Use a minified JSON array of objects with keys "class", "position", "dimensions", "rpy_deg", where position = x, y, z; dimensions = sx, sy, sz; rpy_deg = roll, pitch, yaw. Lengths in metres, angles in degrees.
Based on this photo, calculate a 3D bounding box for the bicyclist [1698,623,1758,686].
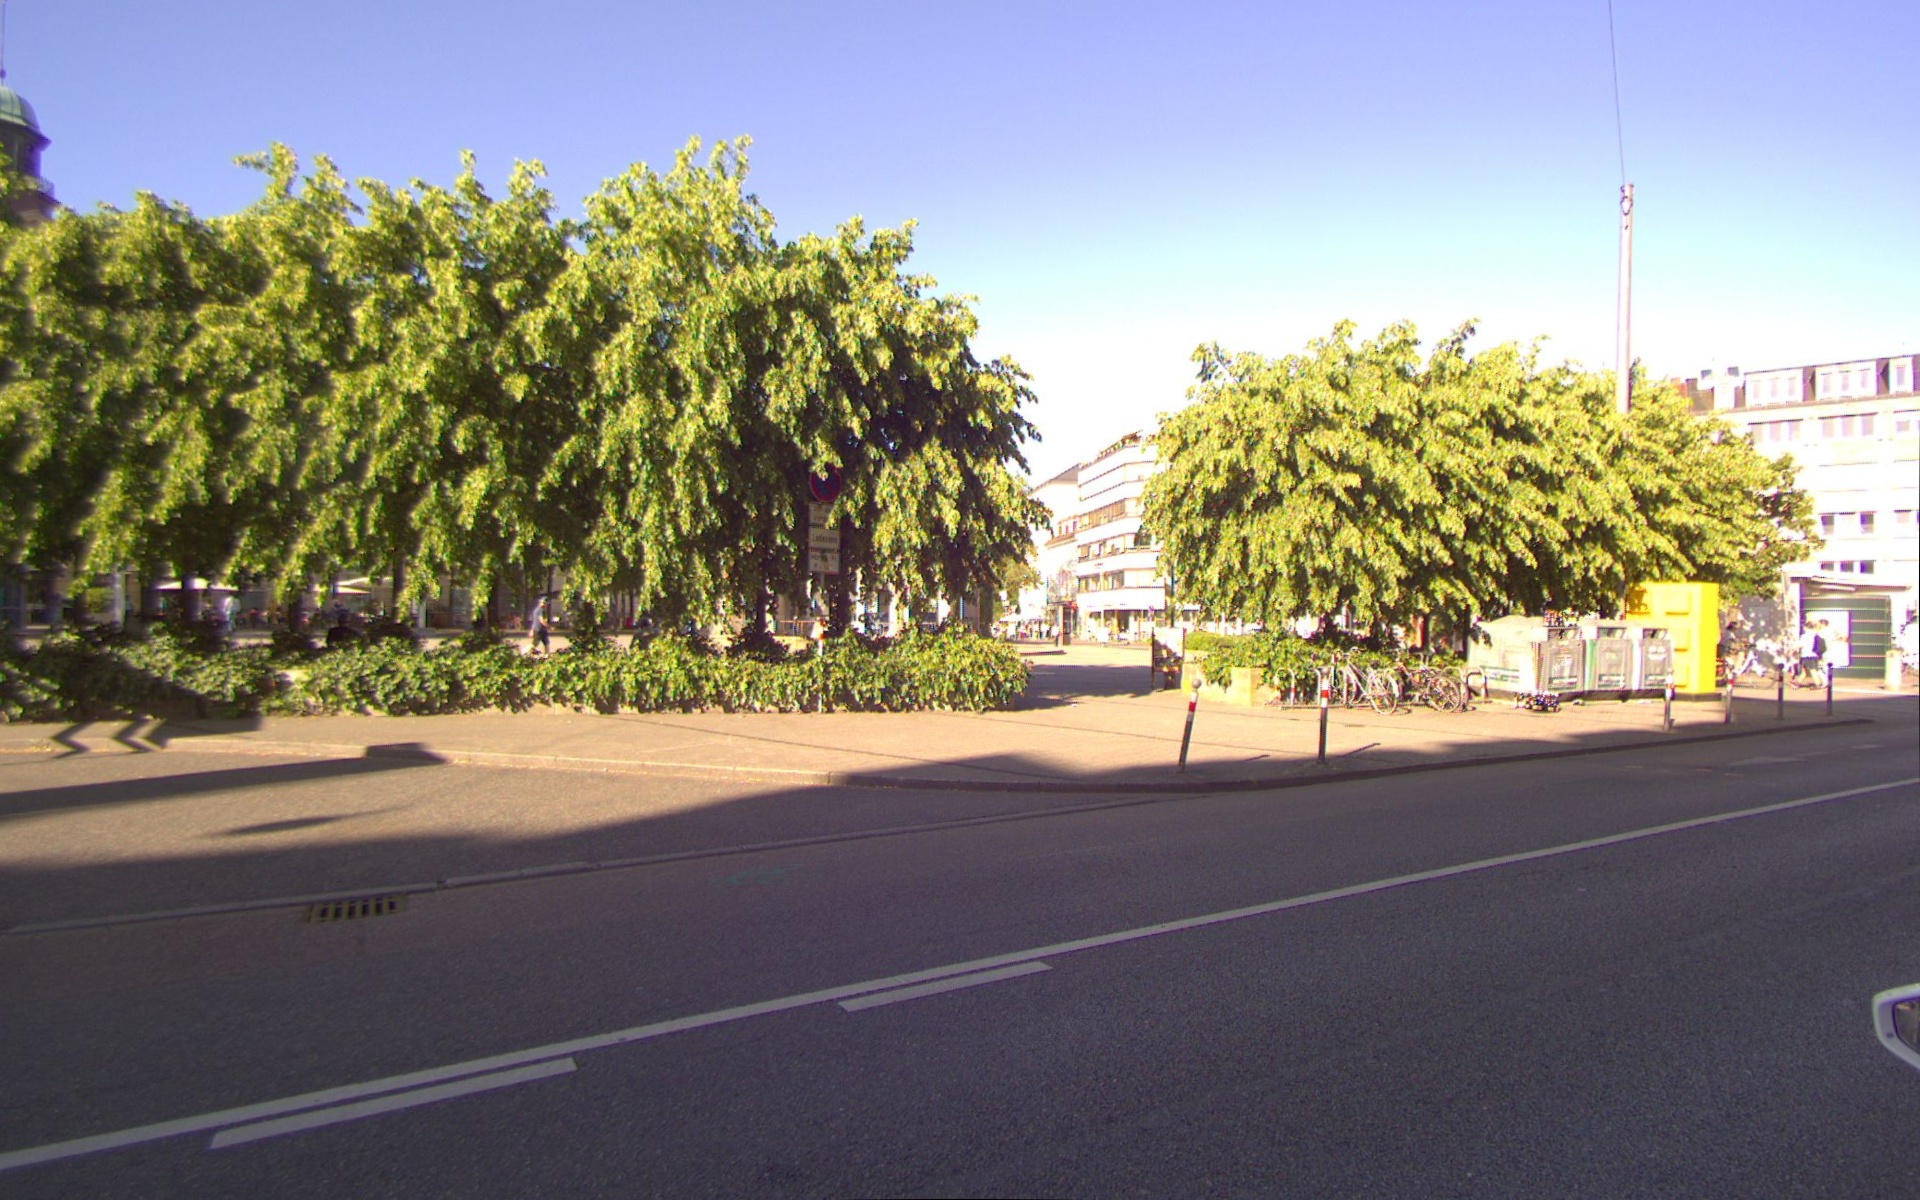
[{"class":"bicyclist","position":[20.291,1.430,26.556],"dimensions":[0.617,1.610,1.098],"rpy_deg":[1,0,-13]}]

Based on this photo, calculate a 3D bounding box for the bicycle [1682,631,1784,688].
[{"class":"bicycle","position":[20.313,1.541,26.461],"dimensions":[0.617,1.216,2.126],"rpy_deg":[1,5,-13]}]

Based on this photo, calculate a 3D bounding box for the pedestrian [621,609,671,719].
[{"class":"pedestrian","position":[-5.507,1.105,17.625],"dimensions":[0.574,1.881,0.598],"rpy_deg":[1,0,41]}]

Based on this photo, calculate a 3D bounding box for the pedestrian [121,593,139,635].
[{"class":"pedestrian","position":[-36.669,0.610,44.372],"dimensions":[0.596,1.816,0.576],"rpy_deg":[2,0,-40]}]

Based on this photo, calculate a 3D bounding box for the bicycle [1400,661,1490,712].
[{"class":"bicycle","position":[8.664,1.530,17.996],"dimensions":[0.468,0.779,1.468],"rpy_deg":[2,0,-27]}]

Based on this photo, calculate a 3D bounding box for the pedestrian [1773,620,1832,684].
[{"class":"pedestrian","position":[22.288,1.364,26.578],"dimensions":[0.727,1.658,0.983],"rpy_deg":[1,0,-26]}]

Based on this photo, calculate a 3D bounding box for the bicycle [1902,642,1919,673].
[{"class":"bicycle","position":[35.896,2.127,36.669],"dimensions":[0.796,1.119,2.073],"rpy_deg":[1,-1,-29]}]

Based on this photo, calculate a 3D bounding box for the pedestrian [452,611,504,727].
[{"class":"pedestrian","position":[-8.080,1.138,16.839],"dimensions":[0.722,1.881,0.578],"rpy_deg":[2,0,-28]}]

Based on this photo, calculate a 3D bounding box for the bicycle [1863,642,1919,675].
[{"class":"bicycle","position":[33.589,2.081,35.698],"dimensions":[0.796,1.119,2.073],"rpy_deg":[1,-1,-29]}]

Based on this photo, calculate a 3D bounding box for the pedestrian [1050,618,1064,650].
[{"class":"pedestrian","position":[6.243,2.165,64.919],"dimensions":[0.670,2.040,0.579],"rpy_deg":[1,0,-23]}]

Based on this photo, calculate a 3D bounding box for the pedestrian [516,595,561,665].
[{"class":"pedestrian","position":[-10.903,0.766,25.992],"dimensions":[0.918,1.775,0.728],"rpy_deg":[1,0,-15]}]

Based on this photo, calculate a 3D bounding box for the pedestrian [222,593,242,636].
[{"class":"pedestrian","position":[-31.675,0.629,43.713],"dimensions":[0.597,1.816,0.575],"rpy_deg":[2,0,-44]}]

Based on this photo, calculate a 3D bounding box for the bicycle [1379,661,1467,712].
[{"class":"bicycle","position":[8.162,1.517,17.761],"dimensions":[0.435,0.779,1.469],"rpy_deg":[2,0,-25]}]

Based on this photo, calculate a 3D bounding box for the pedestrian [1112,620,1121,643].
[{"class":"pedestrian","position":[12.765,2.556,81.950],"dimensions":[0.591,1.816,0.581],"rpy_deg":[1,0,-12]}]

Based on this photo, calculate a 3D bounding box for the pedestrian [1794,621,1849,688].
[{"class":"pedestrian","position":[22.947,1.441,26.765],"dimensions":[0.734,1.748,0.898],"rpy_deg":[1,0,-26]}]

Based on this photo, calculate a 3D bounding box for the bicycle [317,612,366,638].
[{"class":"bicycle","position":[-25.703,1.022,41.722],"dimensions":[2.018,1.030,0.504],"rpy_deg":[1,0,16]}]

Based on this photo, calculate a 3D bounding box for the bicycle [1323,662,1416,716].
[{"class":"bicycle","position":[6.940,1.499,17.103],"dimensions":[0.467,0.779,1.653],"rpy_deg":[2,0,-20]}]
